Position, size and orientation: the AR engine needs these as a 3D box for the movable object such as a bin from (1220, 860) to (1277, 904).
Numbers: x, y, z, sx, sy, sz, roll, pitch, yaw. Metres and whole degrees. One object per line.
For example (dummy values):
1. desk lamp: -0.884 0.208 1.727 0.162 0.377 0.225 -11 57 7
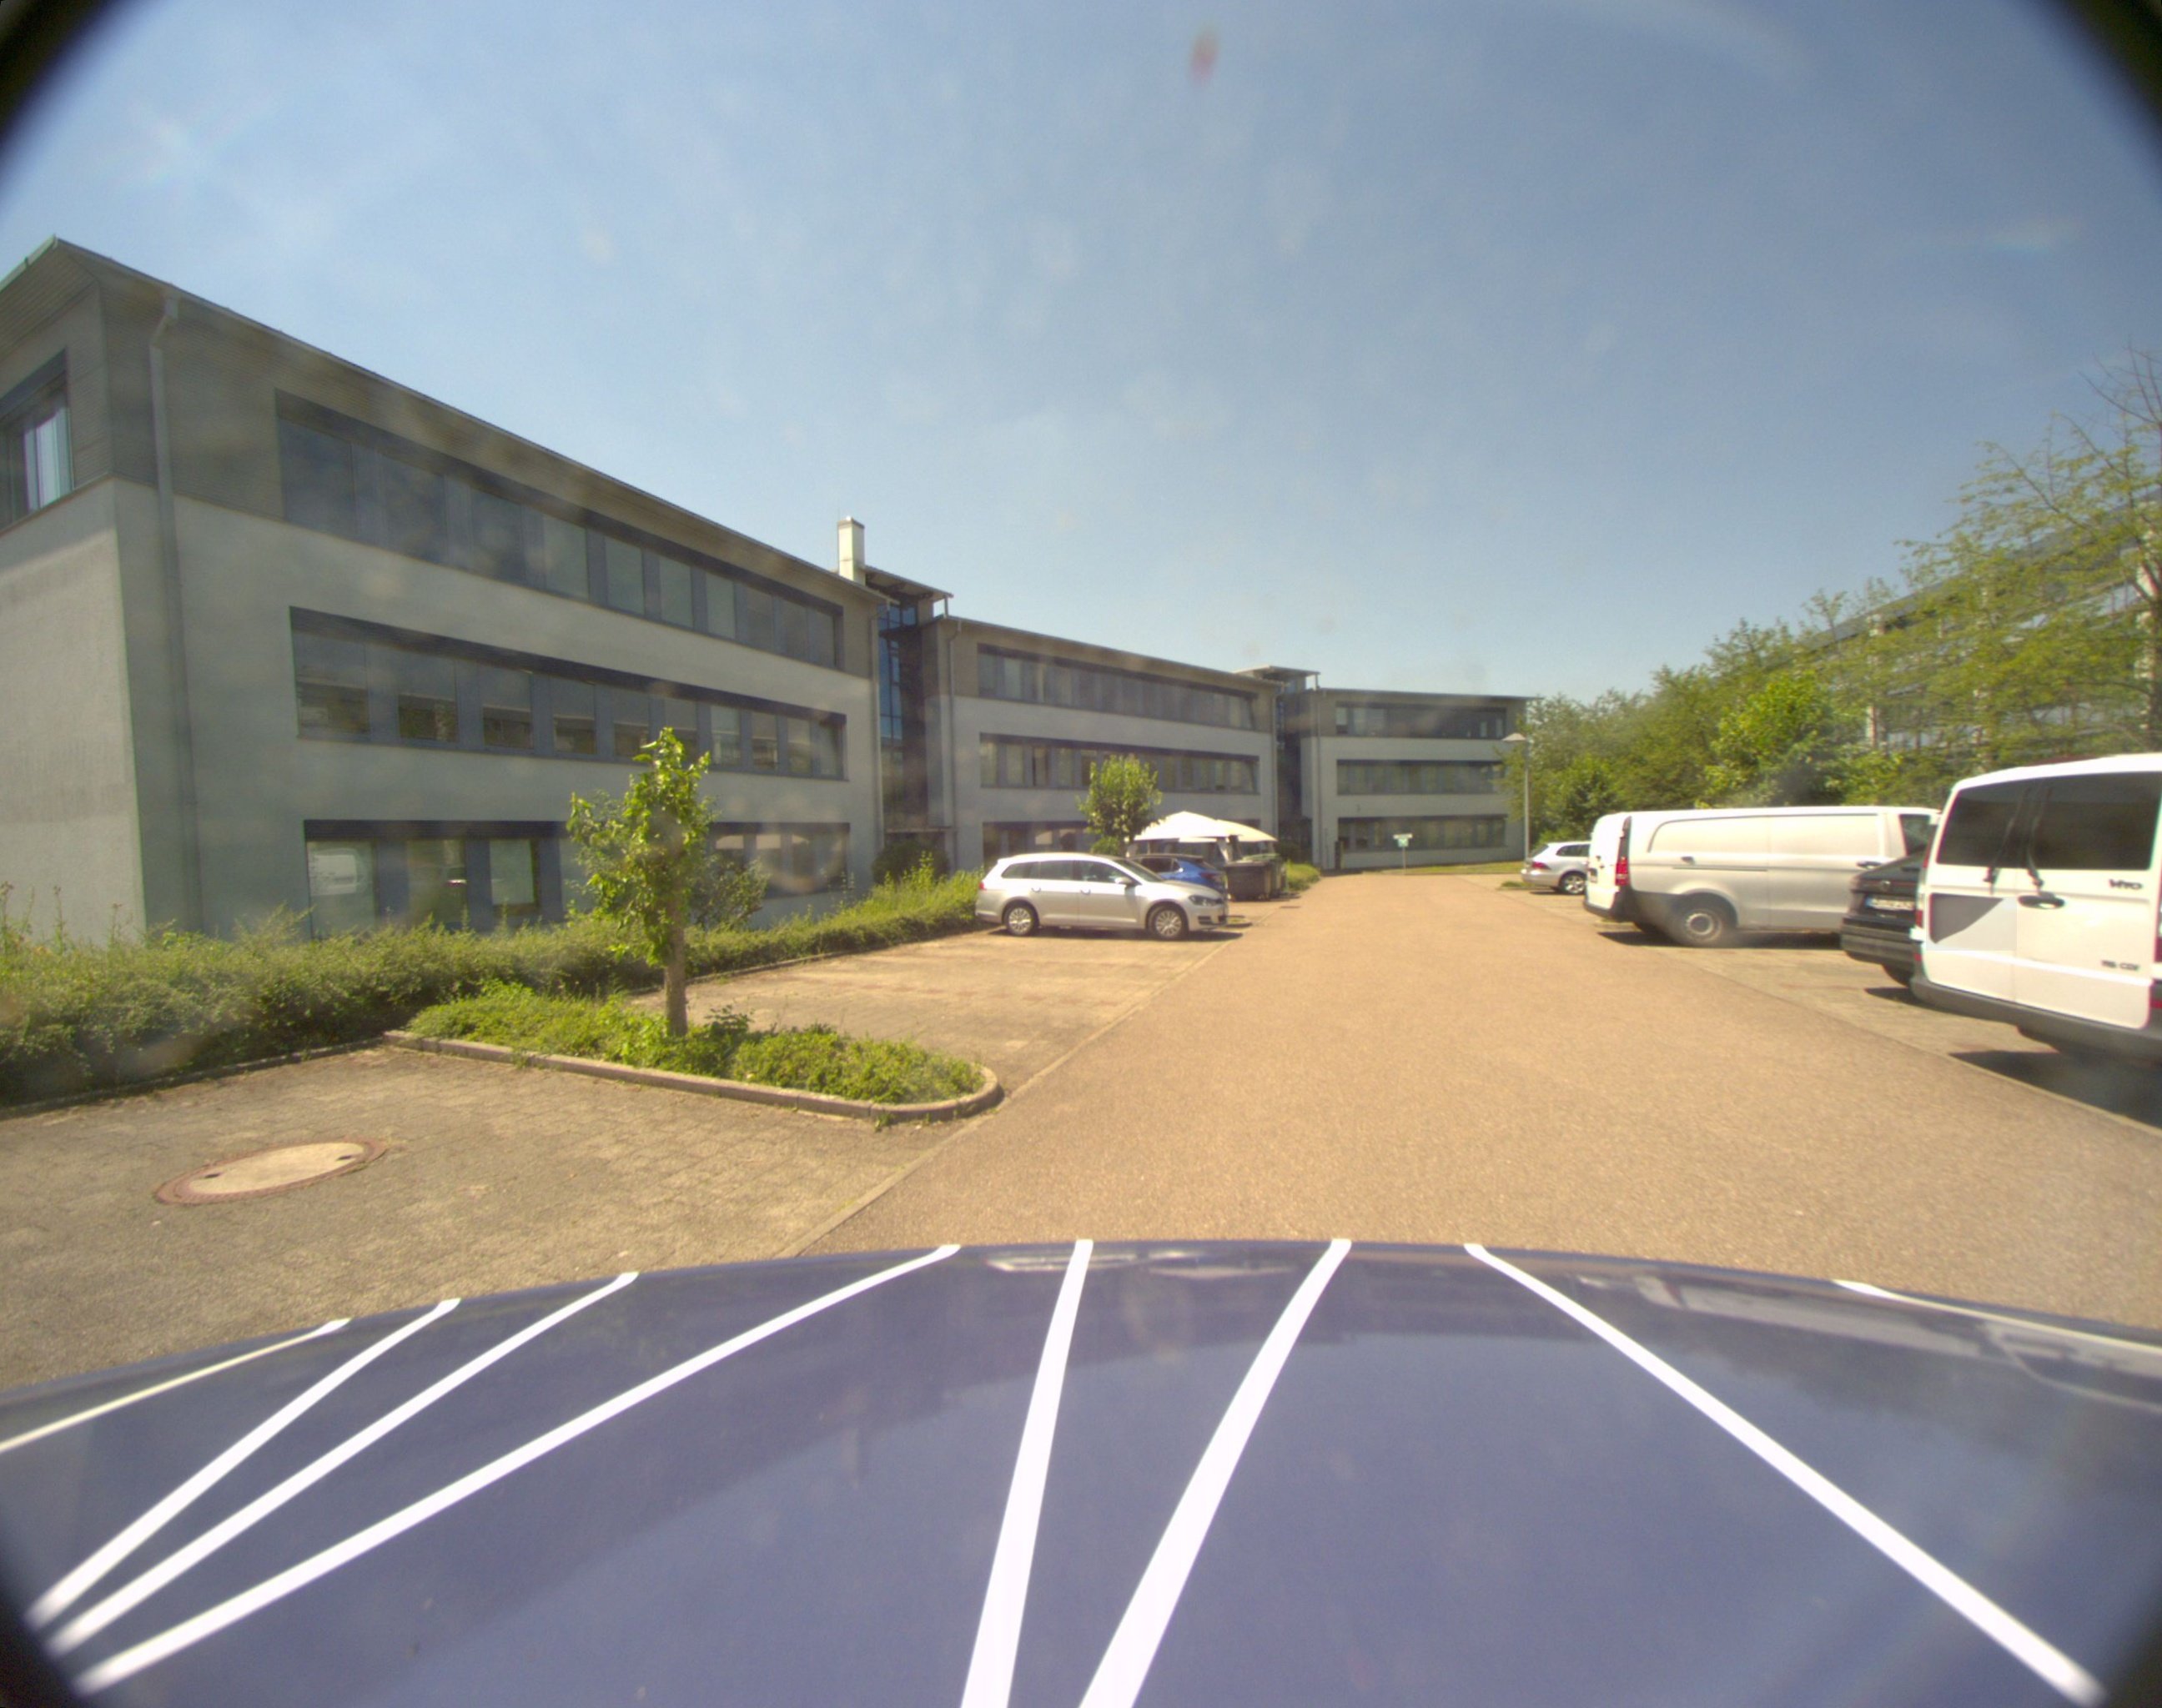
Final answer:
1. movable object such as a bin: 4.796 0.787 21.749 1.361 1.183 0.999 -1 1 25

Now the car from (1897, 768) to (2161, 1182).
1. car: 7.442 0.491 3.493 4.725 1.895 1.832 -1 1 19

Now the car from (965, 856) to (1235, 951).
1. car: 0.370 0.799 13.744 4.510 1.489 1.831 0 1 19

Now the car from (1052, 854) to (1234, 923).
1. car: 1.426 0.726 17.269 3.818 1.384 1.654 0 1 19

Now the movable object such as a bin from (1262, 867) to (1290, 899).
1. movable object such as a bin: 6.018 0.876 23.413 0.689 0.944 0.723 -1 1 25

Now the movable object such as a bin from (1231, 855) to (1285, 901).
1. movable object such as a bin: 5.299 0.709 22.700 1.361 1.288 1.045 -1 1 25

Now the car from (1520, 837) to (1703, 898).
1. car: 14.226 0.361 20.624 3.757 1.549 1.663 -1 1 19

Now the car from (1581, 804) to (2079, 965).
1. car: 9.755 0.385 10.428 4.511 1.871 1.831 -1 1 19

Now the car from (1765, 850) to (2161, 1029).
1. car: 8.923 0.693 6.800 3.843 1.385 1.578 -1 1 19
